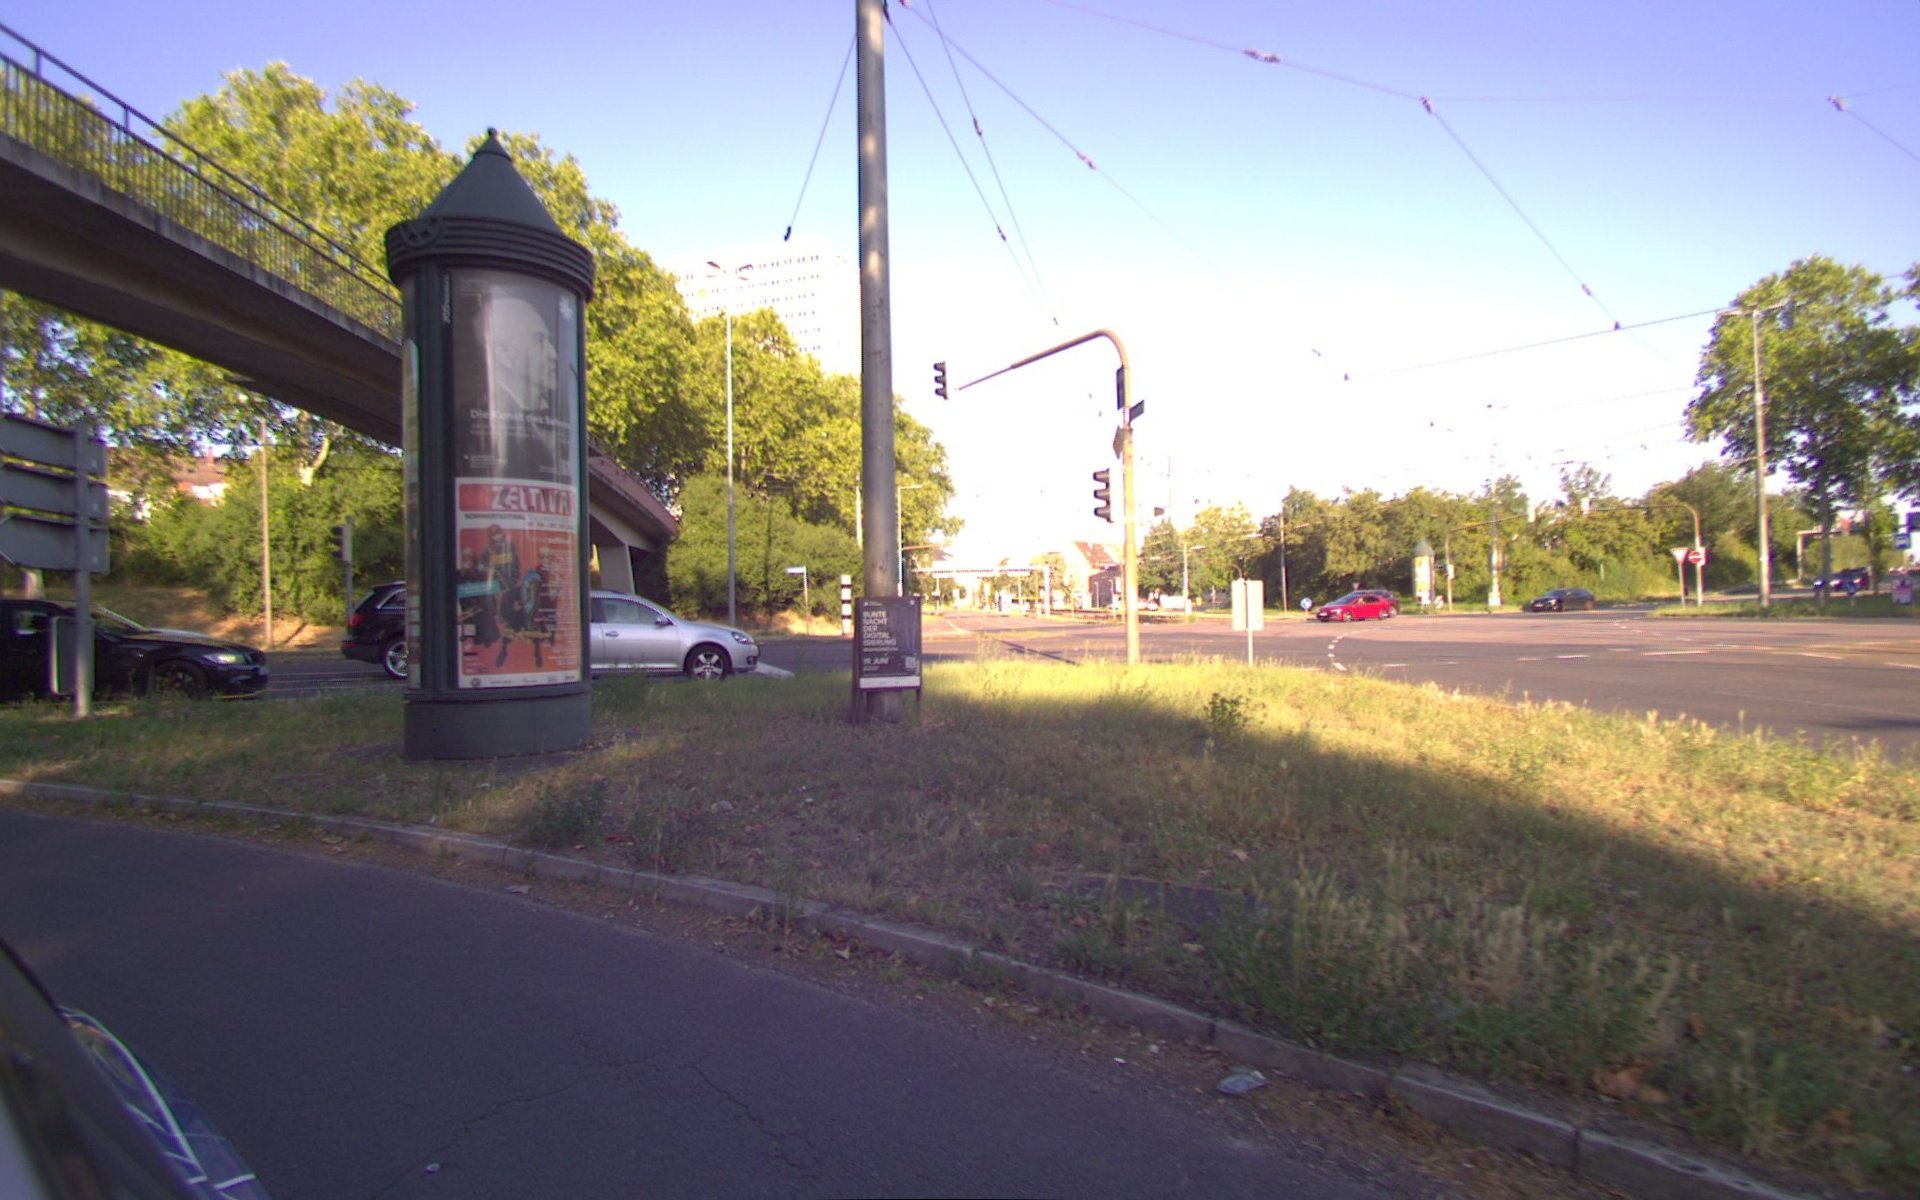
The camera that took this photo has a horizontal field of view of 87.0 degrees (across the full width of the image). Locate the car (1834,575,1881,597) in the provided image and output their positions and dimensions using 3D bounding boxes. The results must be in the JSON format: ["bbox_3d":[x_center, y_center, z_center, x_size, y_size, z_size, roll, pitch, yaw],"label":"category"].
[{"bbox_3d":[75.318,-1.200,84.953,3.932,1.785,1.890,-1,0,-32],"label":"car"}]

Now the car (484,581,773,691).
[{"bbox_3d":[-5.019,0.532,15.426,3.931,1.453,1.804,-1,-3,-22],"label":"car"}]

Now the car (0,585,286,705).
[{"bbox_3d":[-11.444,0.595,12.960,4.399,1.393,1.804,-1,-3,-22],"label":"car"}]

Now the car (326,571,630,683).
[{"bbox_3d":[-8.528,0.425,18.381,4.743,1.806,1.804,-1,0,-19],"label":"car"}]

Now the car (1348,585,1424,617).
[{"bbox_3d":[25.019,0.068,59.483,3.931,1.785,1.891,-1,0,-23],"label":"car"}]

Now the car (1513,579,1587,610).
[{"bbox_3d":[35.545,-0.332,60.967,3.931,1.785,1.891,-1,0,-23],"label":"car"}]

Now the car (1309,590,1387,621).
[{"bbox_3d":[21.071,0.284,54.942,3.611,1.587,1.891,-1,0,-23],"label":"car"}]

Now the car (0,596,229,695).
[{"bbox_3d":[-14.452,0.706,16.038,4.335,1.443,1.753,-1,0,-22],"label":"car"}]
